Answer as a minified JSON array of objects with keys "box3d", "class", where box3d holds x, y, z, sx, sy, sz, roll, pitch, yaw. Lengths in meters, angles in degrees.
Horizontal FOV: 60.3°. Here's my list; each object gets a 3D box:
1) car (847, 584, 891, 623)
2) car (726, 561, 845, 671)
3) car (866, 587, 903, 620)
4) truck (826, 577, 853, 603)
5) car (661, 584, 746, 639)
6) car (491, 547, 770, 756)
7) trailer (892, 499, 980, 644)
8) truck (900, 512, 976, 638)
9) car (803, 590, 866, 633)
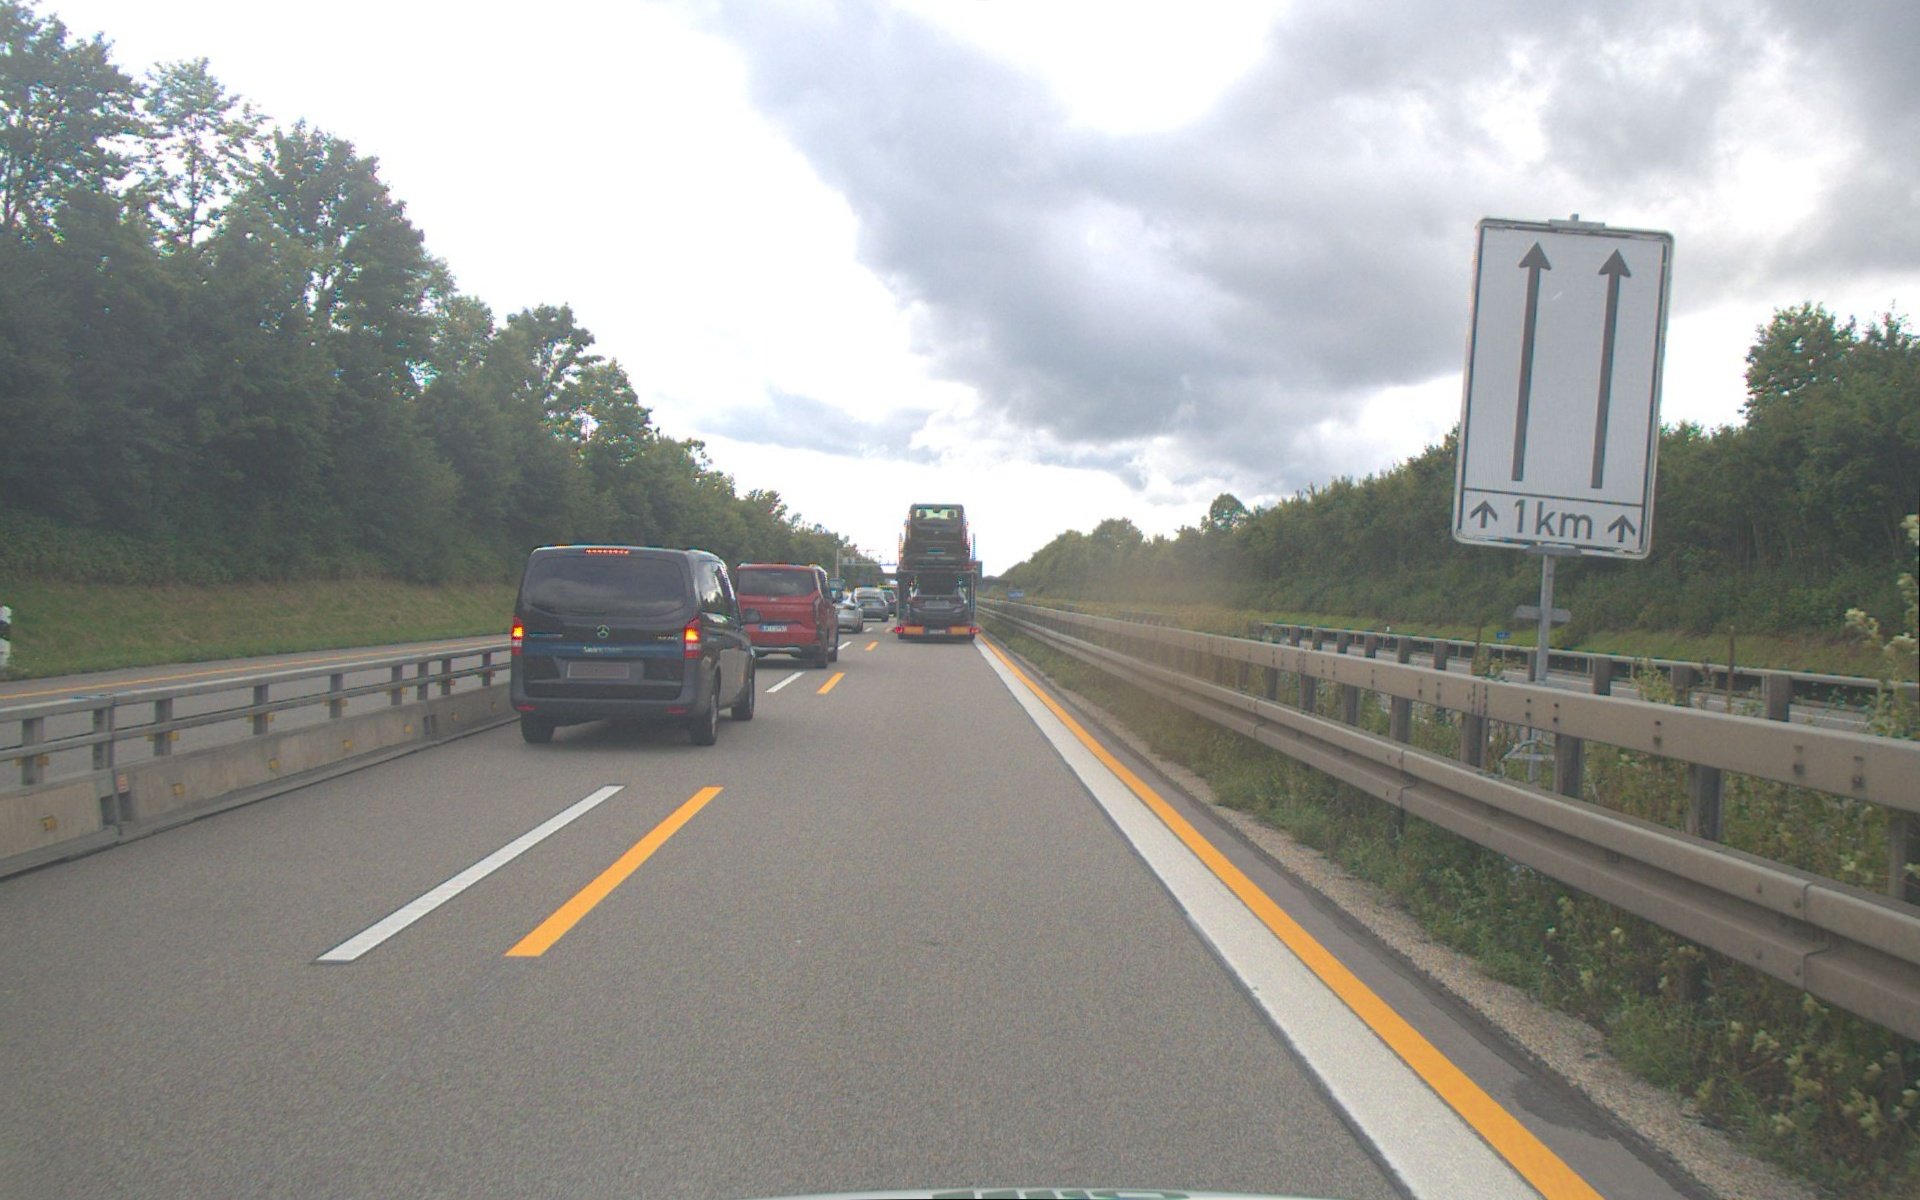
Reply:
[{"box3d":[-4.351,0.160,80.028,1.990,1.788,4.576,1,0,-2],"class":"car"},{"box3d":[-3.435,0.284,33.377,1.990,2.049,4.577,1,0,-1],"class":"car"},{"box3d":[-4.222,0.169,93.213,1.990,1.788,4.576,1,0,-2],"class":"car"},{"box3d":[-12.832,-1.063,176.014,2.439,2.765,6.666,1,0,-1],"class":"truck"},{"box3d":[-7.561,0.310,49.164,1.958,1.525,4.898,1,0,-3],"class":"car"},{"box3d":[-3.290,0.453,17.722,1.953,1.875,5.608,0,0,-1],"class":"car"},{"box3d":[-0.732,-0.842,53.425,2.464,4.177,11.112,1,0,0],"class":"trailer"},{"box3d":[-0.768,-0.851,58.132,2.464,4.177,5.684,1,0,-1],"class":"truck"},{"box3d":[-4.409,0.380,58.728,1.990,1.456,4.576,1,0,-2],"class":"car"}]
